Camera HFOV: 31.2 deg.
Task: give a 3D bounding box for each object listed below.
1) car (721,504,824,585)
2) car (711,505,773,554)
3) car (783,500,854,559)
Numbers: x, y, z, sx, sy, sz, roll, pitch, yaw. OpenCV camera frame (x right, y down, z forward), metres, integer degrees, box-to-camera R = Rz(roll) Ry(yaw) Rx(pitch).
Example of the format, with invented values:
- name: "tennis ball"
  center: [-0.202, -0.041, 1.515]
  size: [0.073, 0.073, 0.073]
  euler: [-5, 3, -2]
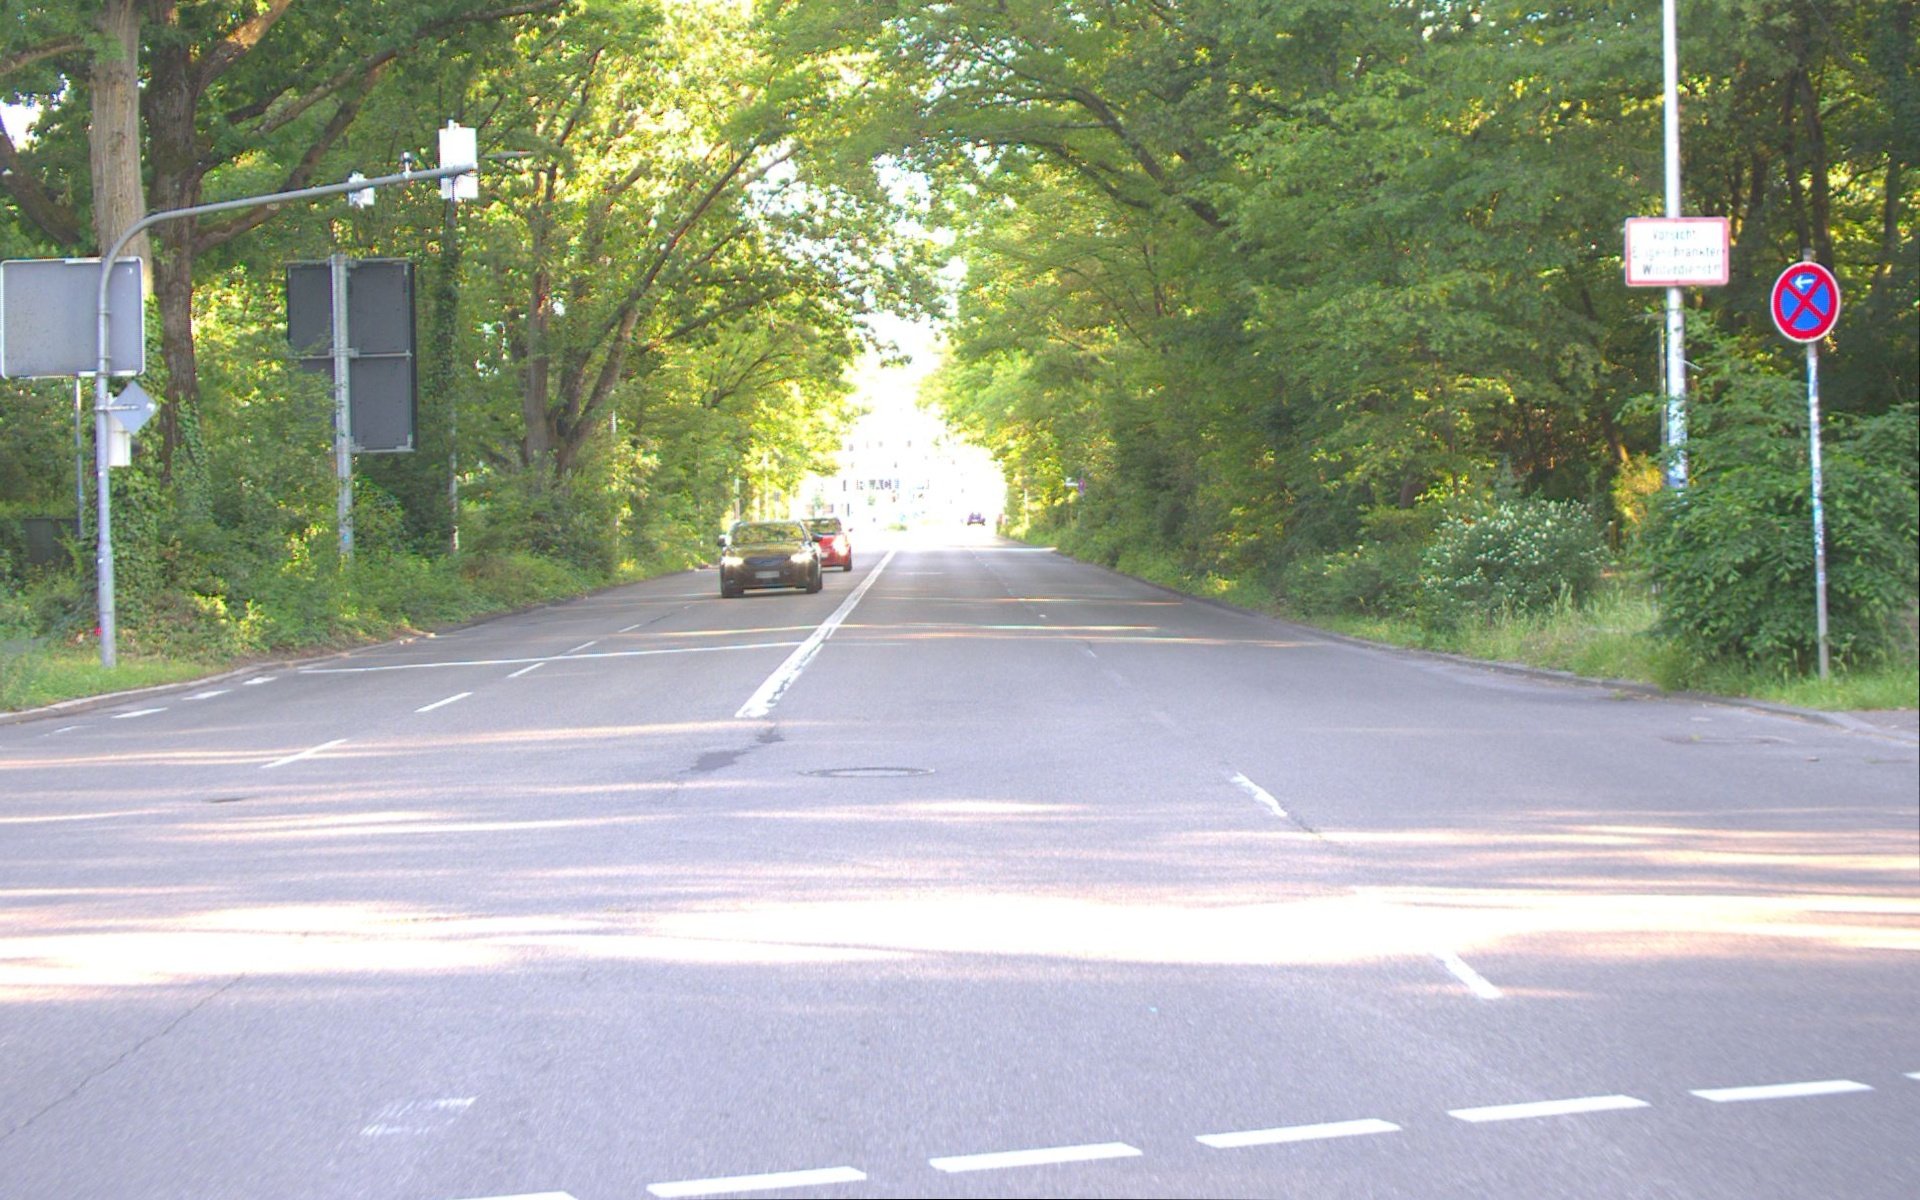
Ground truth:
- name: "car"
  center: [-3.722, -1.124, 68.779]
  size: [1.887, 1.501, 4.365]
  euler: [-2, 1, -1]
- name: "car"
  center: [-7.080, -2.298, 112.048]
  size: [1.797, 1.501, 4.365]
  euler: [-2, 1, -1]
- name: "car"
  center: [-3.789, -1.914, 92.728]
  size: [1.797, 1.501, 4.365]
  euler: [-2, 1, -1]
